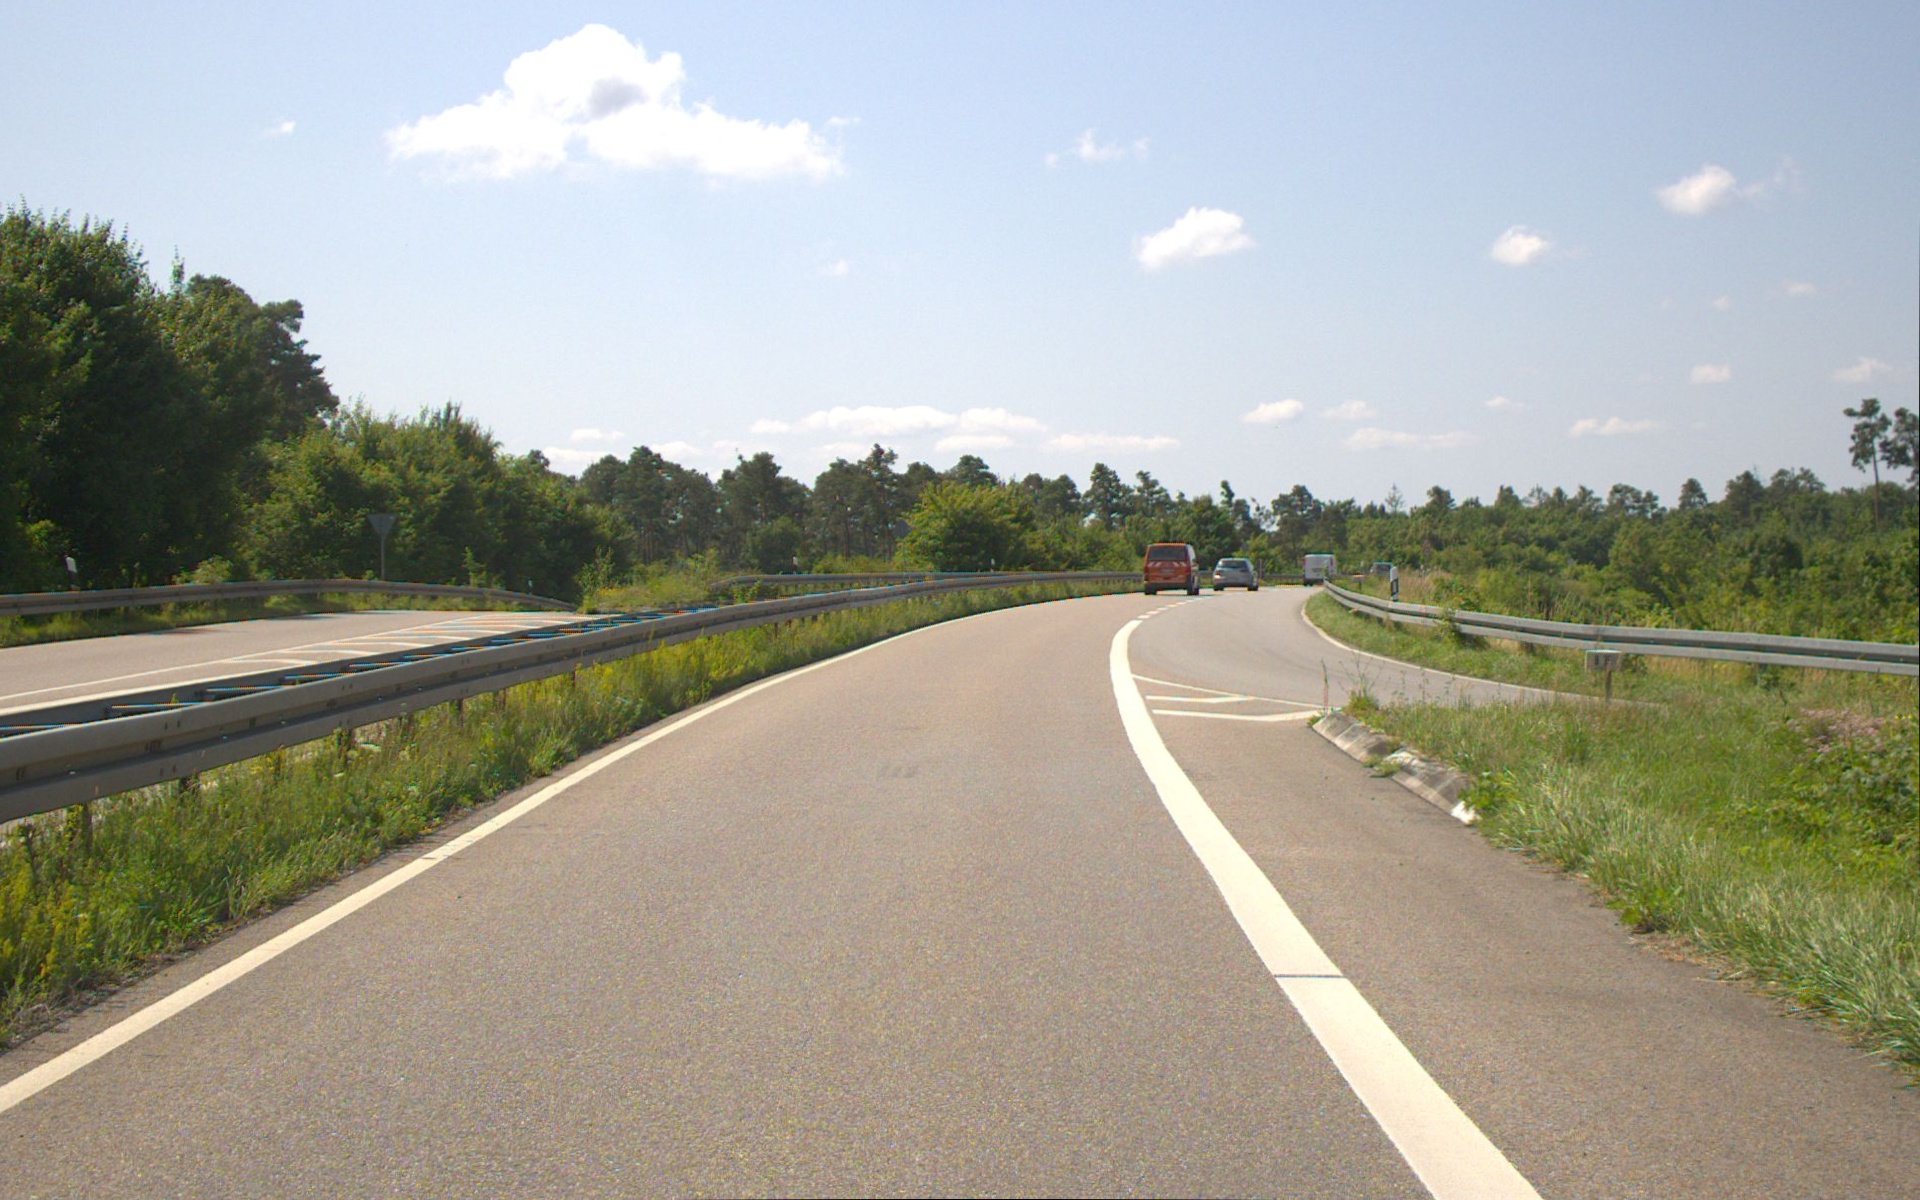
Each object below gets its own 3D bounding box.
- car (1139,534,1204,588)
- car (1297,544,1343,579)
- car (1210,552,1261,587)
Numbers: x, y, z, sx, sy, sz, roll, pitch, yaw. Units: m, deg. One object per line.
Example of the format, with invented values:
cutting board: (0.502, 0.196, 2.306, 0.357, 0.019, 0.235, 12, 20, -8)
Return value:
car: (8.090, -1.470, 131.024, 2.078, 1.986, 5.110, 1, 0, 8)
car: (21.394, -2.271, 204.095, 2.186, 1.948, 5.801, 1, 0, 11)
car: (12.288, -1.367, 153.392, 2.008, 1.489, 4.237, 1, 0, 8)
